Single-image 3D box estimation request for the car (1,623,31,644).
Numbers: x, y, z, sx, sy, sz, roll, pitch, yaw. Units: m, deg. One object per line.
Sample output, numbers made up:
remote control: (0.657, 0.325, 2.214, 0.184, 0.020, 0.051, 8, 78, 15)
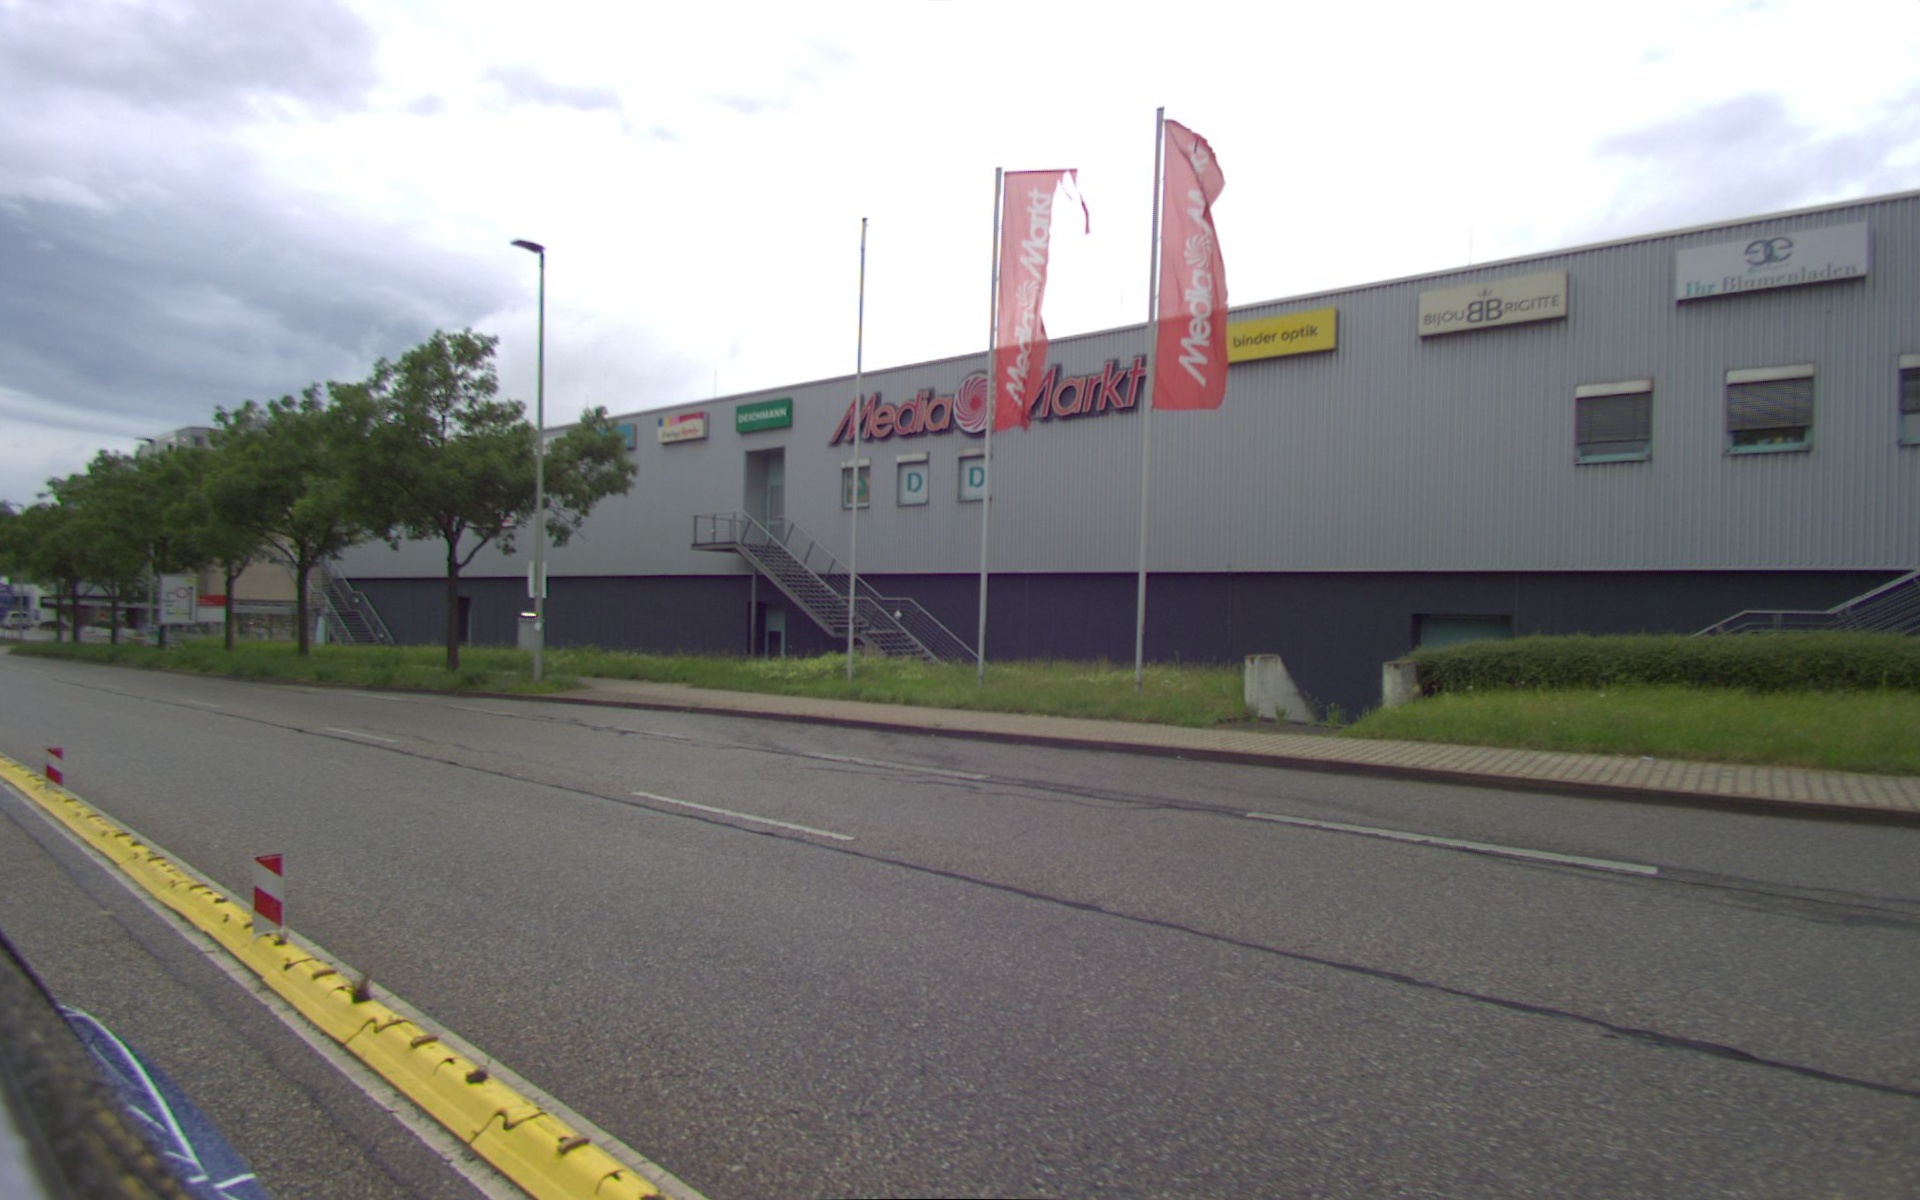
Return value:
car: (-106.436, 3.750, 114.079, 4.884, 2.028, 1.973, -1, 3, 42)
